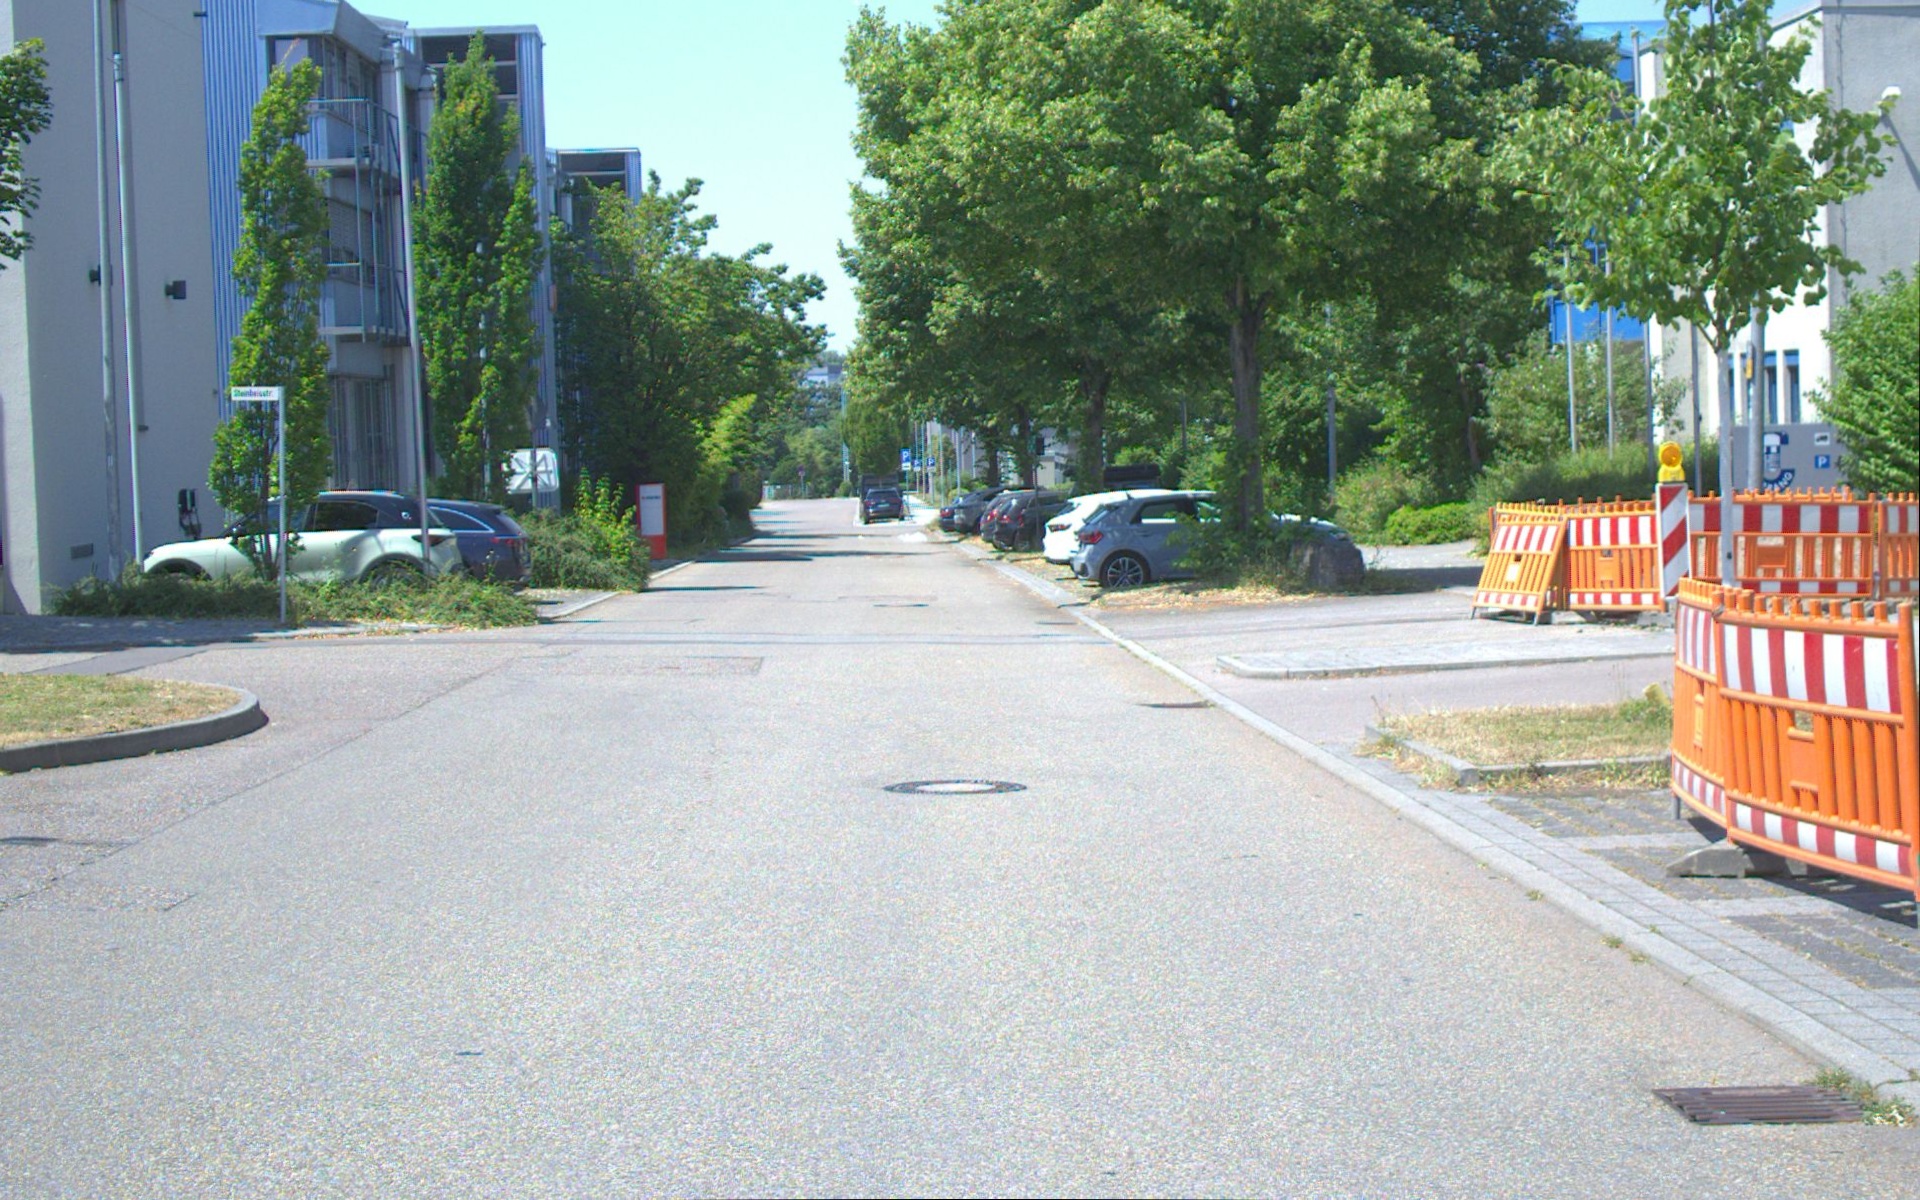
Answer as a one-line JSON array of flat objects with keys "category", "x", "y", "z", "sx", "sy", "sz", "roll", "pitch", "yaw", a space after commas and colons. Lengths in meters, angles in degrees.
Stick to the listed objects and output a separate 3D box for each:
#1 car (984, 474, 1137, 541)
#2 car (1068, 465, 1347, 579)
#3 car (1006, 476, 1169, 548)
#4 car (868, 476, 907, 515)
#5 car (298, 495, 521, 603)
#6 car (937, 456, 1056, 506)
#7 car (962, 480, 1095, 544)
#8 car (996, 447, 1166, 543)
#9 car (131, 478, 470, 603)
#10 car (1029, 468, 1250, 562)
[{"category": "car", "x": 2.520, "y": -2.336, "z": 86.855, "sx": 3.721, "sy": 1.621, "sz": 1.814, "roll": -1, "pitch": 2, "yaw": -1}, {"category": "car", "x": 3.515, "y": -1.126, "z": 49.240, "sx": 3.678, "sy": 1.349, "sz": 1.646, "roll": -4, "pitch": 2, "yaw": -5}, {"category": "car", "x": 3.003, "y": -2.082, "z": 81.411, "sx": 3.721, "sy": 1.621, "sz": 1.814, "roll": -1, "pitch": 2, "yaw": -1}, {"category": "car", "x": -3.363, "y": -4.856, "z": 159.837, "sx": 1.761, "sy": 1.749, "sz": 3.945, "roll": -1, "pitch": 2, "yaw": -1}, {"category": "car", "x": -7.778, "y": -0.734, "z": 48.704, "sx": 3.057, "sy": 1.473, "sz": 1.293, "roll": -1, "pitch": 2, "yaw": -8}, {"category": "car", "x": 1.289, "y": -4.189, "z": 120.976, "sx": 3.931, "sy": 1.572, "sz": 1.768, "roll": -2, "pitch": 5, "yaw": -9}, {"category": "car", "x": 2.165, "y": -2.794, "z": 108.793, "sx": 3.931, "sy": 1.828, "sz": 1.768, "roll": -2, "pitch": 5, "yaw": -9}, {"category": "car", "x": 2.719, "y": -2.388, "z": 78.127, "sx": 3.721, "sy": 2.103, "sz": 1.814, "roll": -1, "pitch": 2, "yaw": -1}, {"category": "car", "x": -8.369, "y": -0.772, "z": 43.890, "sx": 4.045, "sy": 1.489, "sz": 1.729, "roll": -1, "pitch": 2, "yaw": -4}, {"category": "car", "x": 3.071, "y": -1.459, "z": 59.021, "sx": 3.516, "sy": 1.349, "sz": 1.538, "roll": -4, "pitch": 2, "yaw": -5}]
